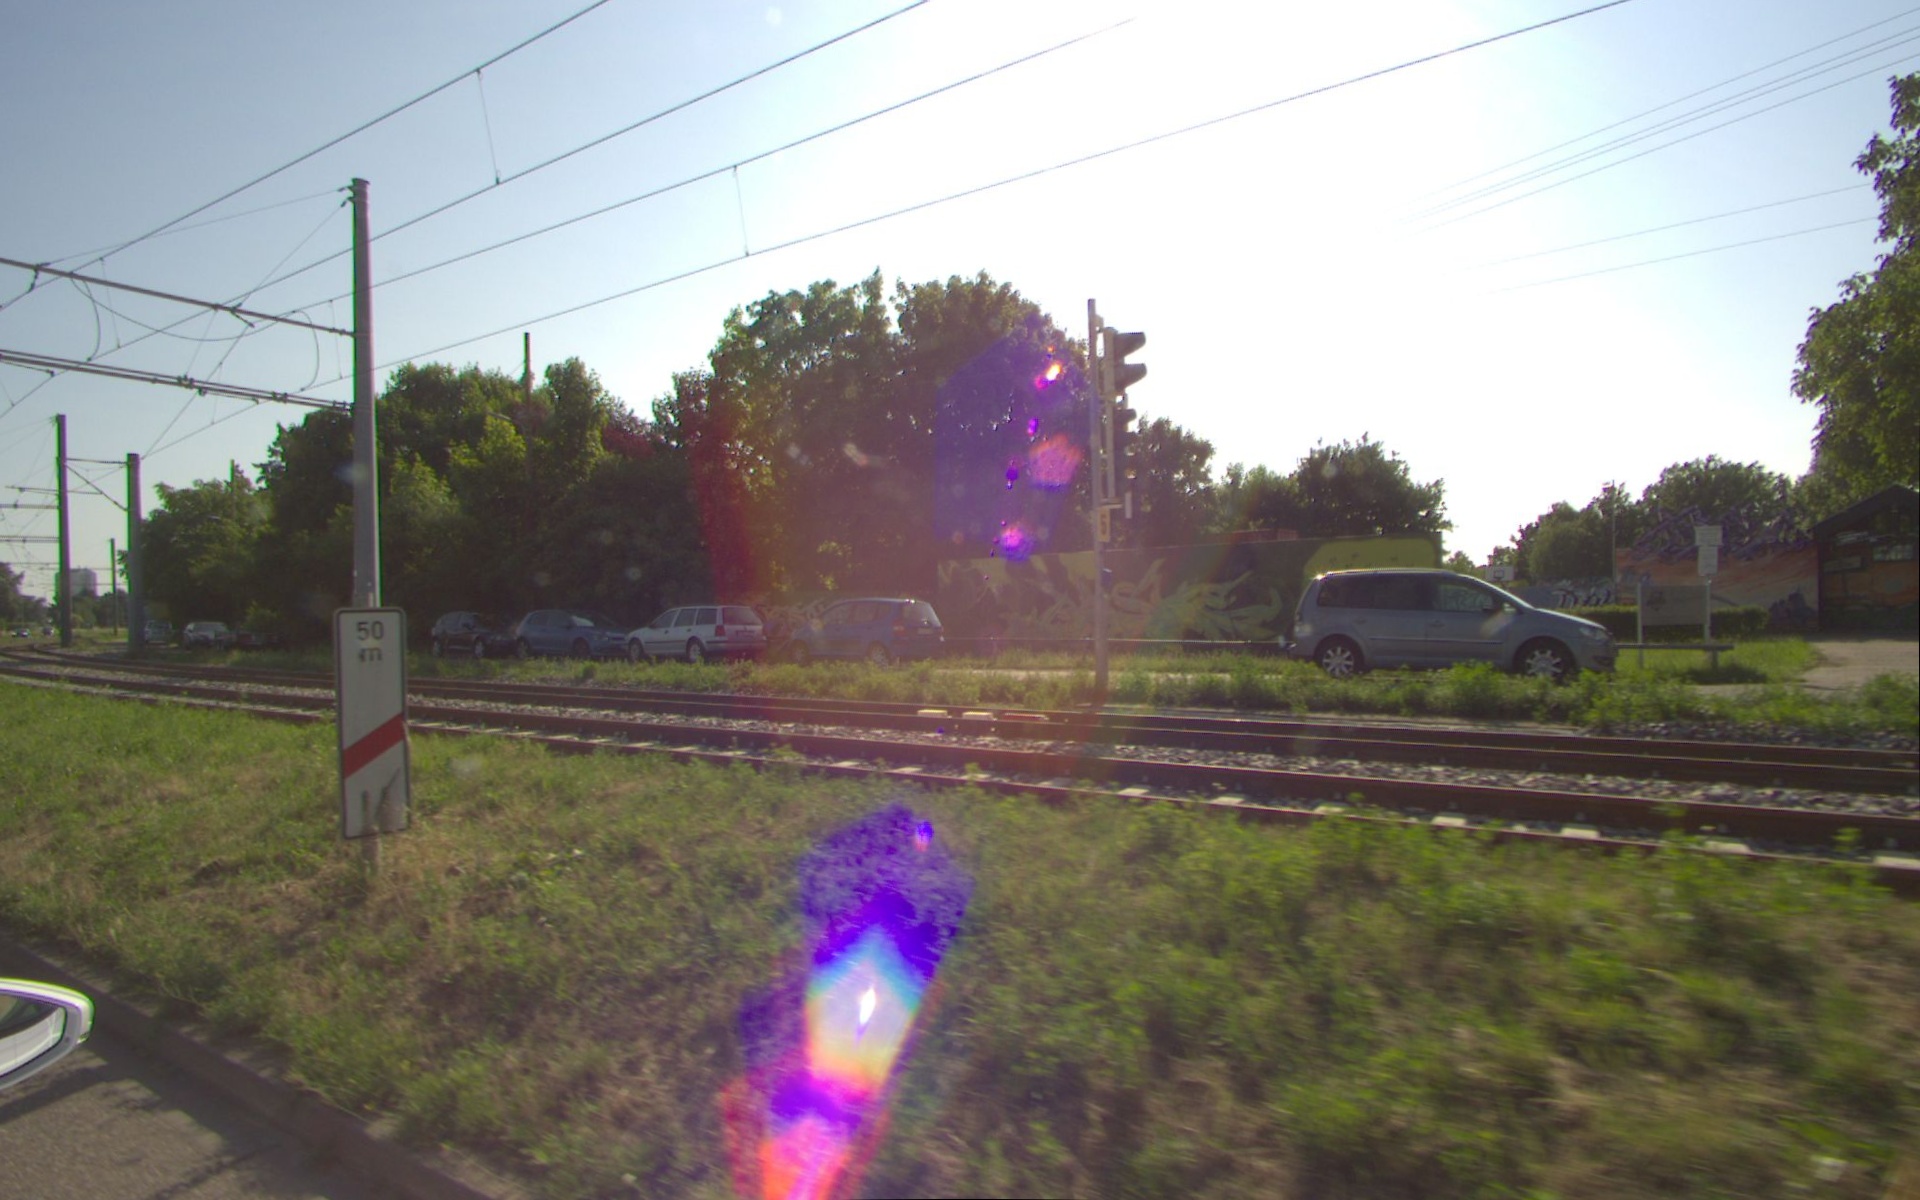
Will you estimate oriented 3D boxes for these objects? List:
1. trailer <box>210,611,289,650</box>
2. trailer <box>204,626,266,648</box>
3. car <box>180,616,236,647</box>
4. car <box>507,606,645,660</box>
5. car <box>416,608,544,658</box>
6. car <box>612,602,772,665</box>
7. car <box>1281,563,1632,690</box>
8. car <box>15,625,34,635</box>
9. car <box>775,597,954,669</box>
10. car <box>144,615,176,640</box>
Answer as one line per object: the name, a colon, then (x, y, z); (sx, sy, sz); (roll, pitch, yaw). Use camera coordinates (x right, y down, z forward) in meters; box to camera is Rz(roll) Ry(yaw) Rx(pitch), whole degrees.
trailer: (-31.268, 1.362, 44.008); (4.214, 1.616, 2.016); (-1, -3, 43)
trailer: (-33.999, 1.748, 46.943); (3.689, 0.951, 1.722); (-1, -4, 44)
car: (-37.589, 1.565, 50.006); (1.688, 1.475, 4.833); (3, -3, -43)
car: (-10.811, 0.893, 28.094); (4.091, 1.419, 1.481); (-1, 0, 33)
car: (-14.920, 1.019, 31.053); (4.461, 1.428, 1.618); (-1, -2, 36)
car: (-6.893, 0.804, 25.556); (4.335, 1.485, 1.703); (-1, 0, 38)
car: (7.134, 0.355, 14.681); (4.418, 1.632, 1.519); (-1, 1, 31)
car: (-143.210, 4.629, 153.295); (1.678, 1.458, 4.252); (1, -2, -37)
car: (-2.153, 0.707, 22.024); (3.864, 1.448, 1.671); (-1, -2, 39)
car: (-69.230, 2.376, 86.722); (1.977, 2.029, 5.029); (3, -3, -37)
